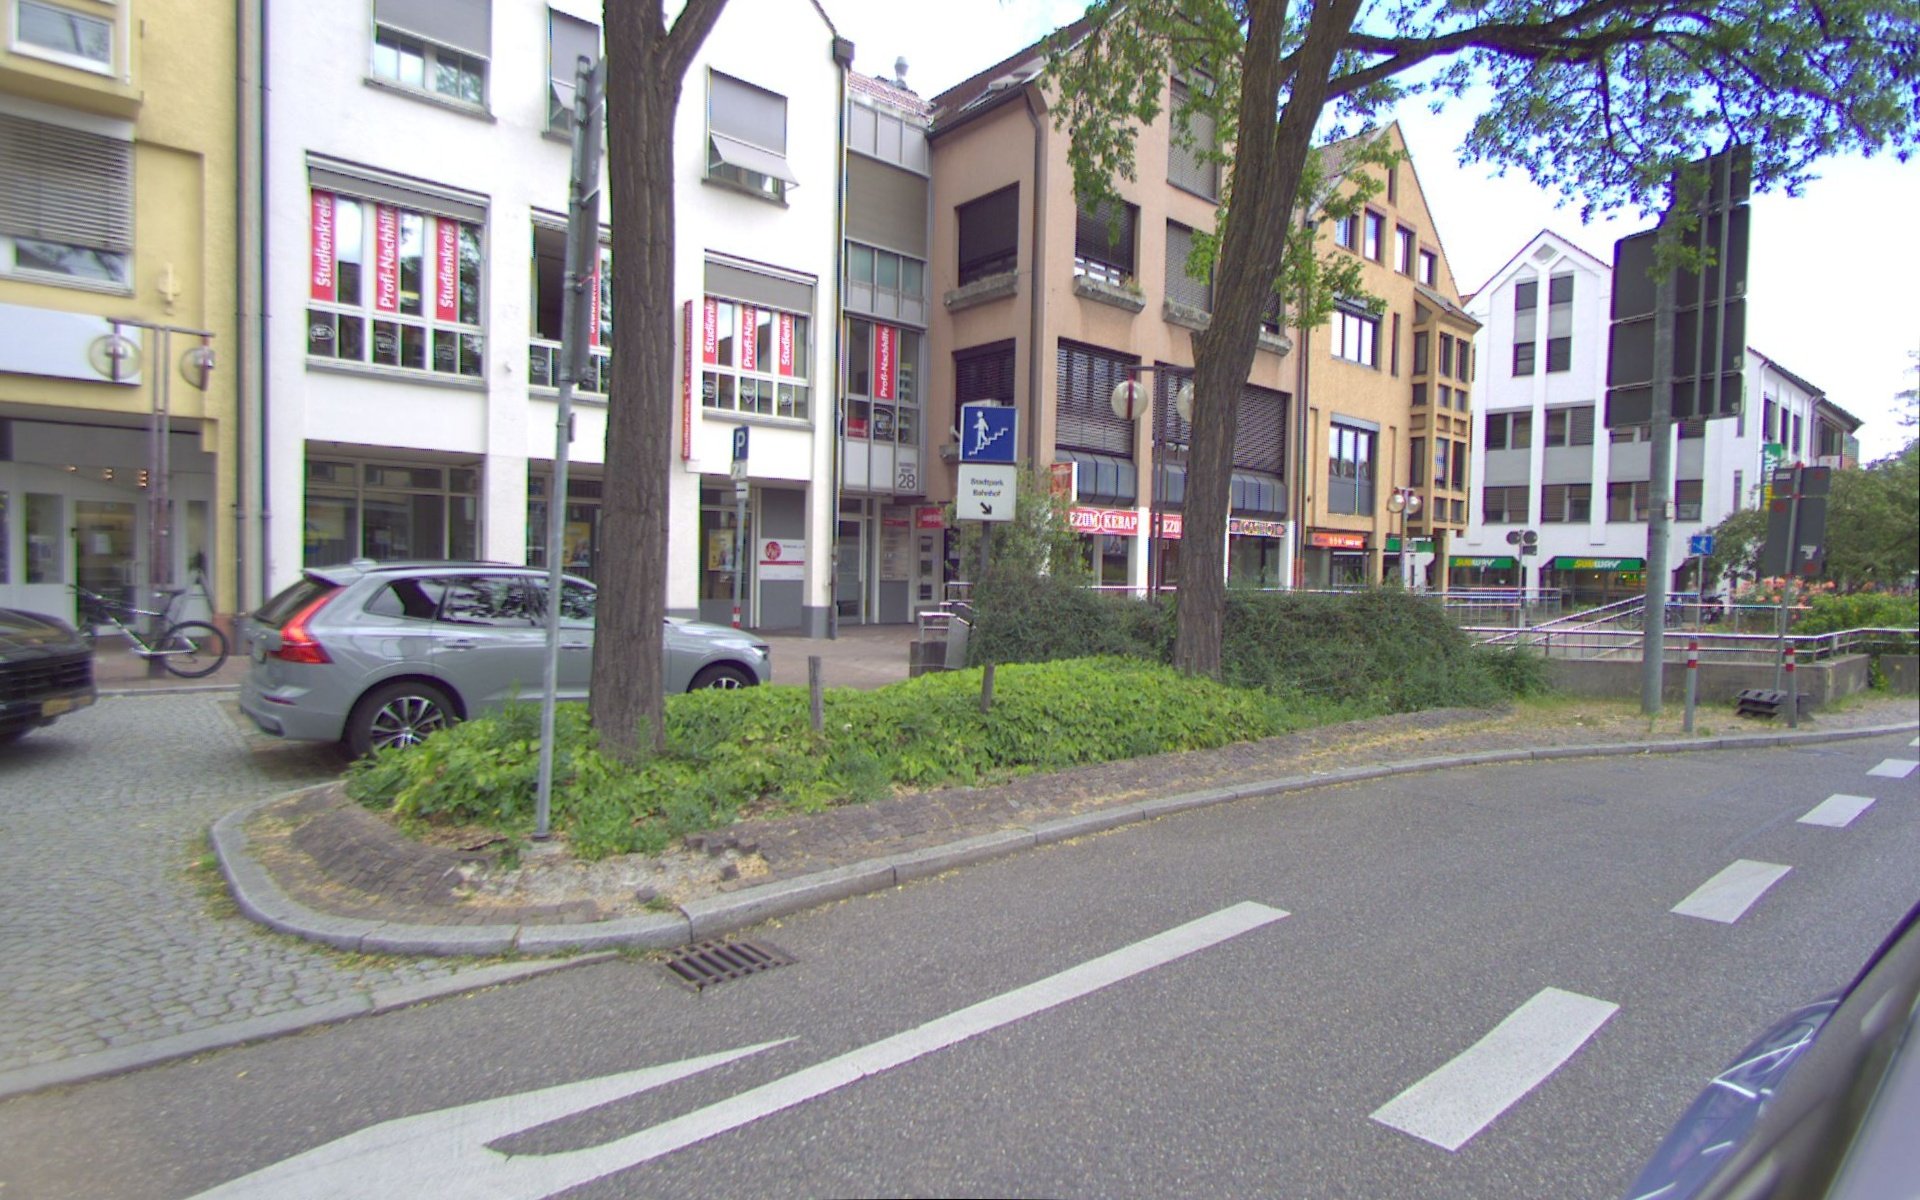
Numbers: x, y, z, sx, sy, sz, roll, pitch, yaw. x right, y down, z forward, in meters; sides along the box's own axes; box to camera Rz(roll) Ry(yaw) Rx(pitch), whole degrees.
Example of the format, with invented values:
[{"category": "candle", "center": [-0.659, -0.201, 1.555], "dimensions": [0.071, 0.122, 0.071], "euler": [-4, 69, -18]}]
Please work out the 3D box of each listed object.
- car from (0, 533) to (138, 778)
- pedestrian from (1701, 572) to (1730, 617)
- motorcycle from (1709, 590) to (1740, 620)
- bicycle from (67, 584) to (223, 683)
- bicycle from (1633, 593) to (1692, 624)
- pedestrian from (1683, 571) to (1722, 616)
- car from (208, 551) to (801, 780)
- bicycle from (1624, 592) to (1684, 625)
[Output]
[{"category": "car", "center": [-9.061, 0.304, 7.259], "dimensions": [4.566, 1.690, 1.863], "euler": [2, 2, -12]}, {"category": "pedestrian", "center": [31.605, -0.246, 42.334], "dimensions": [0.772, 1.846, 0.869], "euler": [0, 0, -44]}, {"category": "motorcycle", "center": [27.837, 0.172, 36.841], "dimensions": [1.960, 1.081, 0.464], "euler": [0, 2, -41]}, {"category": "bicycle", "center": [-9.196, 0.355, 11.457], "dimensions": [1.354, 1.057, 0.393], "euler": [0, 2, -41]}, {"category": "bicycle", "center": [23.359, 0.270, 33.685], "dimensions": [1.584, 0.981, 0.455], "euler": [2, 1, 36]}, {"category": "pedestrian", "center": [29.963, -0.258, 40.859], "dimensions": [0.871, 1.779, 0.943], "euler": [1, 1, 6]}, {"category": "car", "center": [-4.019, 0.418, 9.494], "dimensions": [4.684, 1.615, 1.996], "euler": [0, 2, -44]}, {"category": "bicycle", "center": [22.806, 0.268, 33.258], "dimensions": [1.584, 1.014, 0.409], "euler": [2, 1, 37]}]
